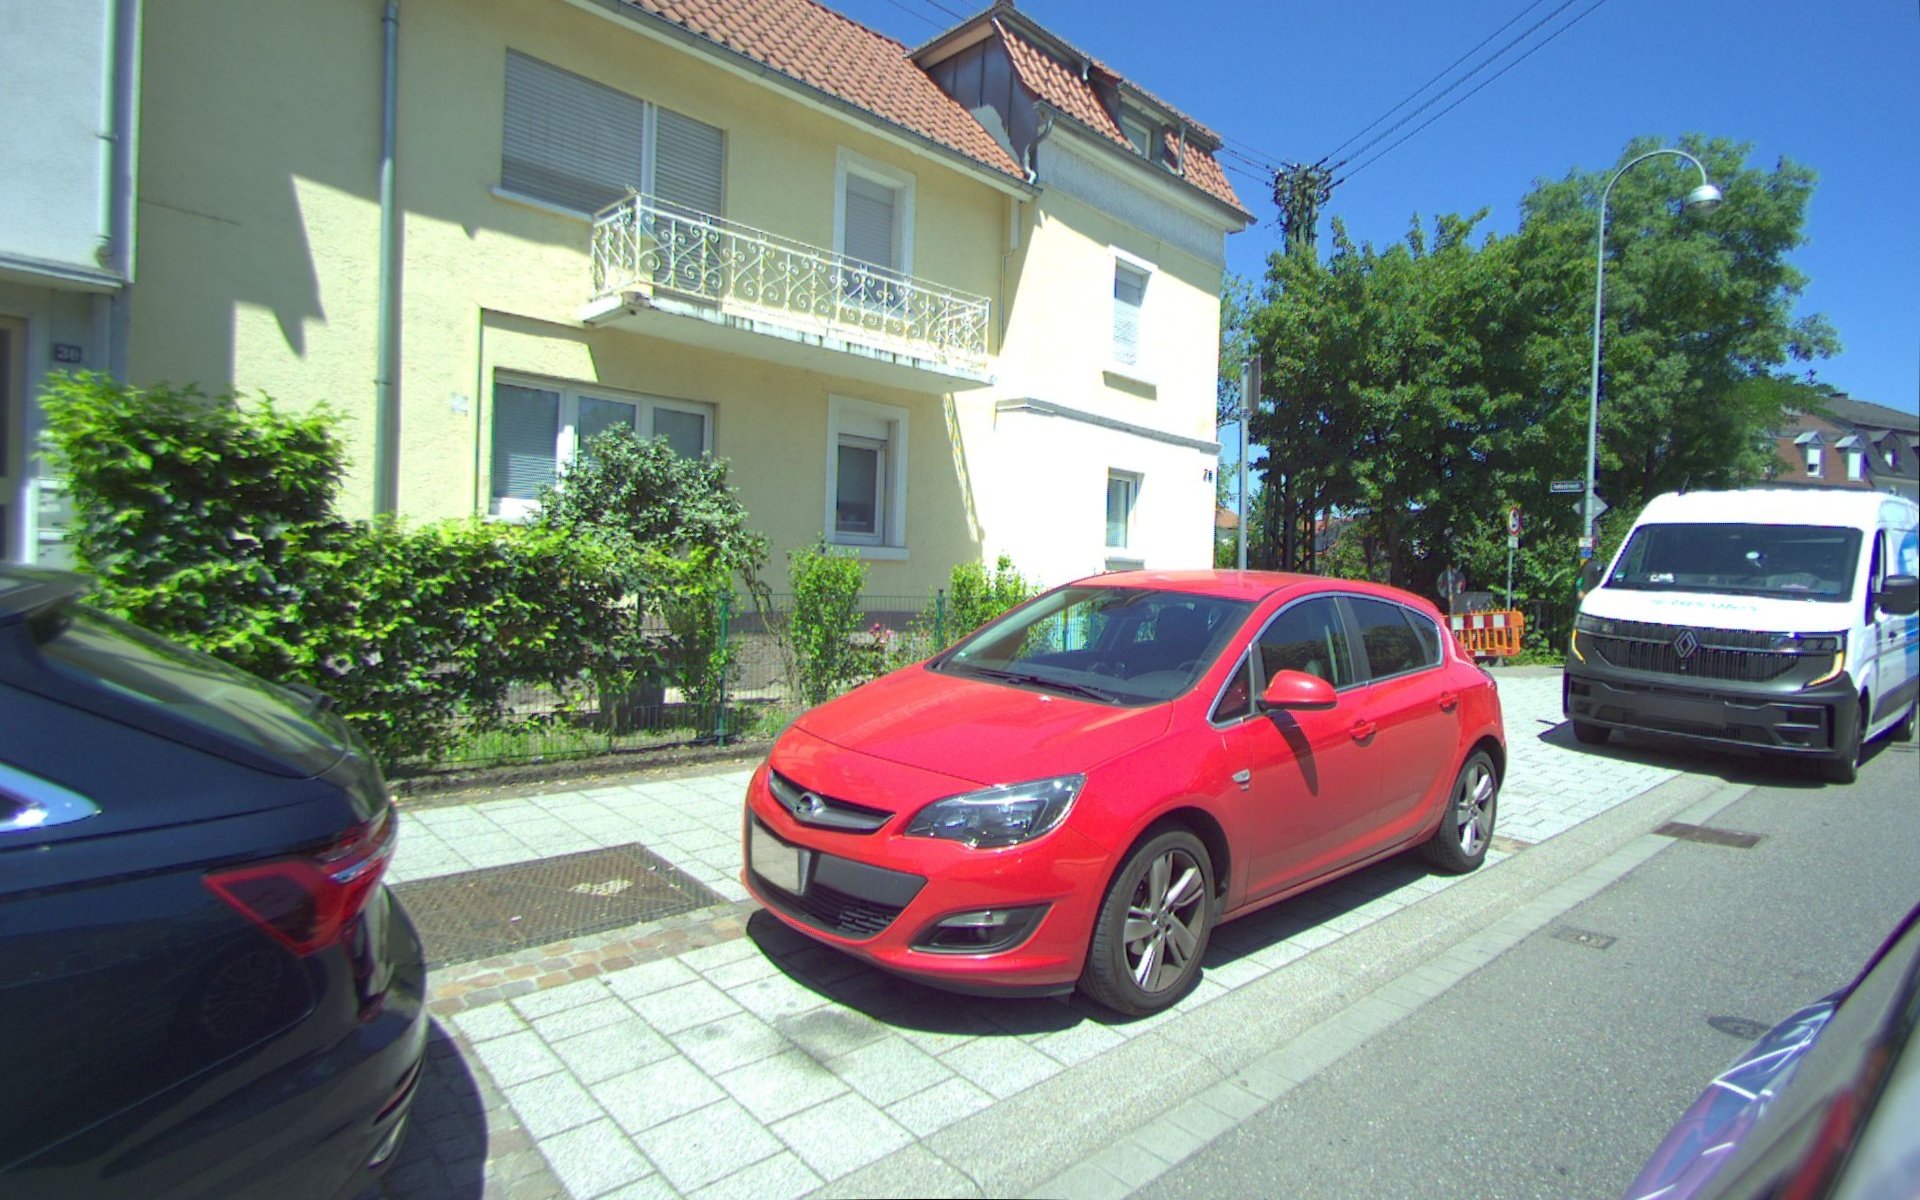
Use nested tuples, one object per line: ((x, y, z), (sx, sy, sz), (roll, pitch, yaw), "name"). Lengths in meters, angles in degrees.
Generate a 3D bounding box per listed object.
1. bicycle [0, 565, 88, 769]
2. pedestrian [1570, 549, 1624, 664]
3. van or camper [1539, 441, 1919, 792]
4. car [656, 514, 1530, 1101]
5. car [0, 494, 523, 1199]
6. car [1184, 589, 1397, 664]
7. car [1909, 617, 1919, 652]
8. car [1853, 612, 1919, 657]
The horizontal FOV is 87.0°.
((-6.286, 0.397, 5.832), (0.531, 1.222, 1.857), (-1, -1, 42), "bicycle")
((10.021, 0.093, 15.949), (0.517, 1.727, 0.796), (5, 3, 28), "pedestrian")
((8.096, 0.021, 9.956), (6.067, 2.497, 2.114), (-1, 4, -40), "van or camper")
((0.912, 0.513, 4.711), (4.079, 1.549, 1.806), (0, 2, -42), "car")
((-3.128, 0.547, 0.955), (4.639, 1.492, 1.807), (0, 5, -42), "car")
((7.168, 0.604, 22.394), (1.613, 1.486, 4.404), (0, -2, -34), "car")
((47.763, 1.672, 47.673), (1.958, 1.691, 4.007), (0, 0, -14), "car")
((44.602, 1.615, 47.210), (1.958, 2.039, 4.008), (0, -1, -15), "car")
